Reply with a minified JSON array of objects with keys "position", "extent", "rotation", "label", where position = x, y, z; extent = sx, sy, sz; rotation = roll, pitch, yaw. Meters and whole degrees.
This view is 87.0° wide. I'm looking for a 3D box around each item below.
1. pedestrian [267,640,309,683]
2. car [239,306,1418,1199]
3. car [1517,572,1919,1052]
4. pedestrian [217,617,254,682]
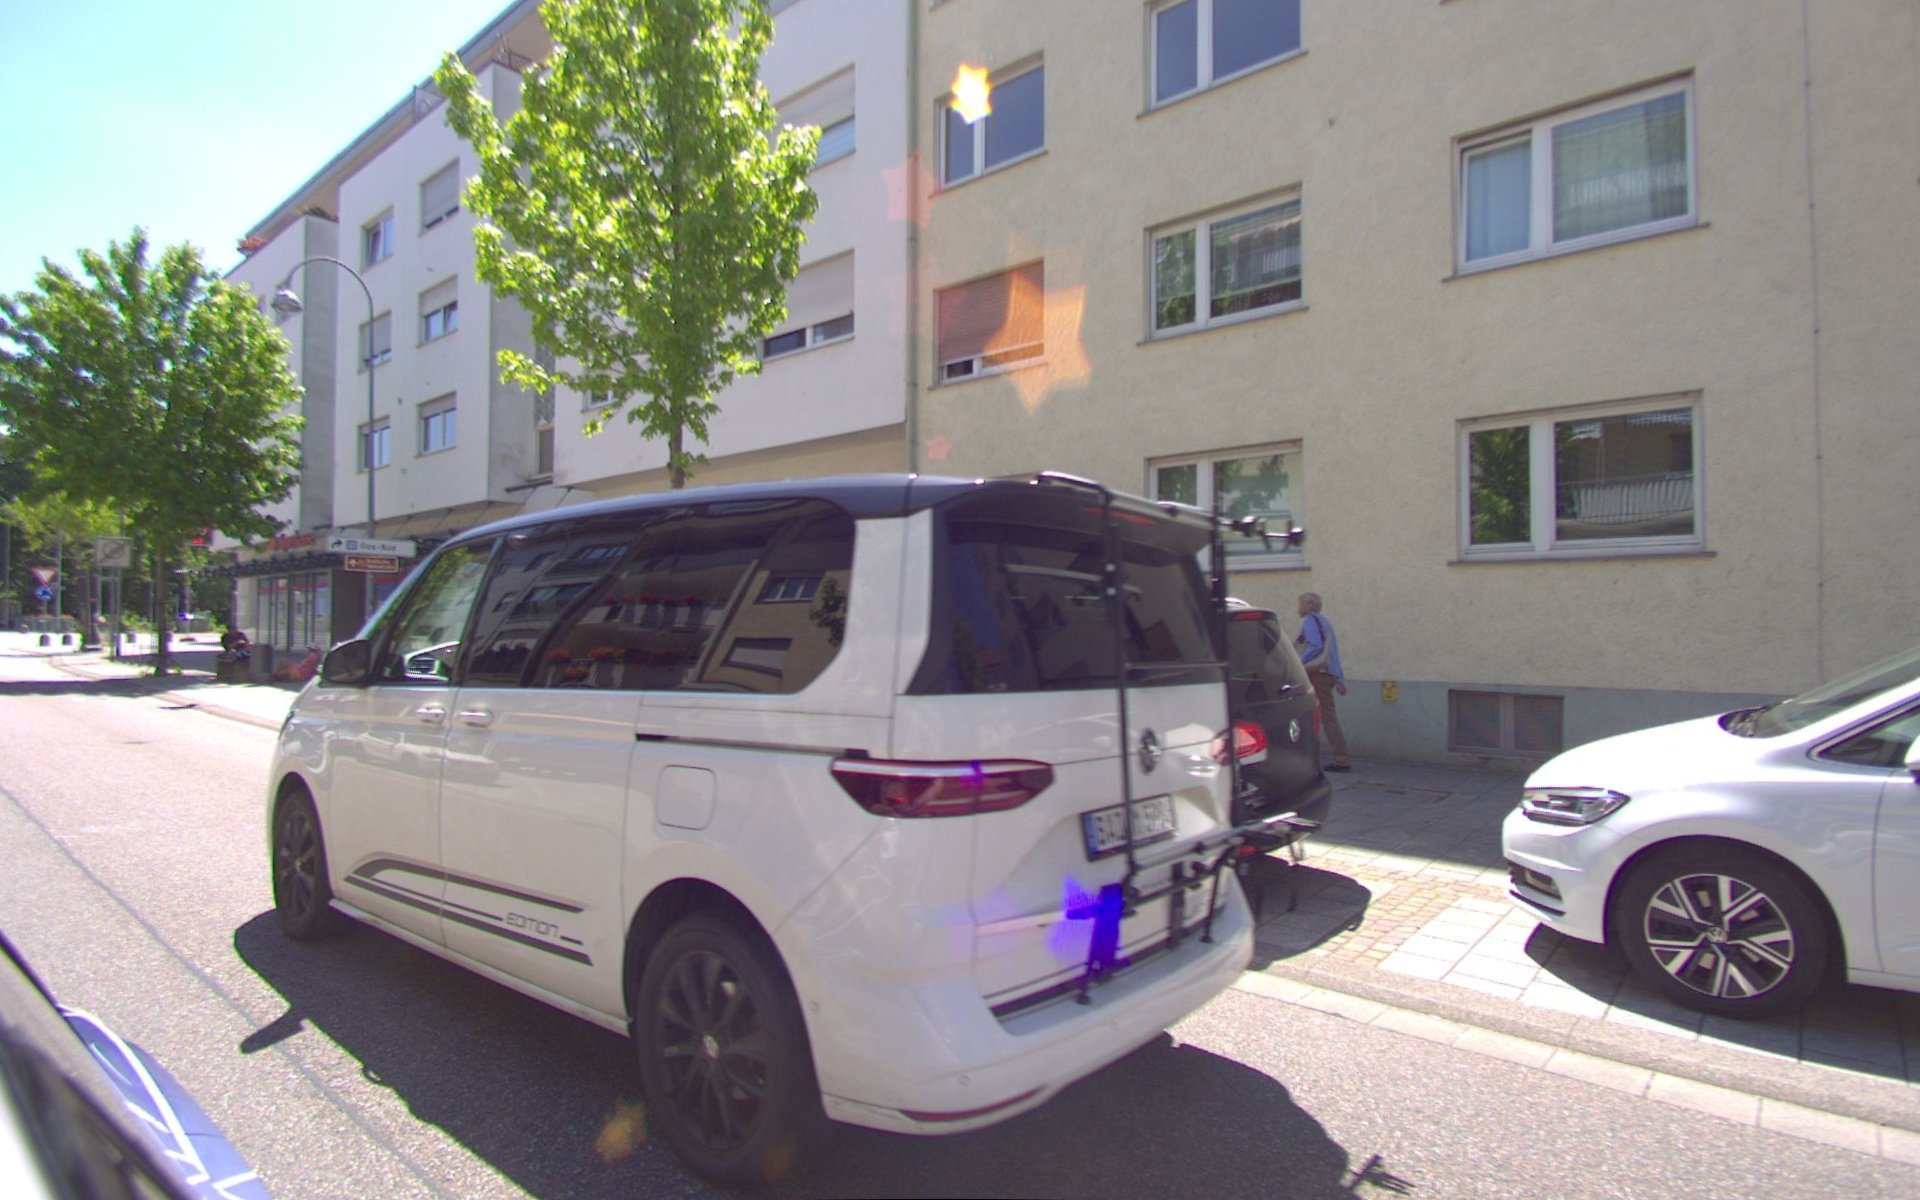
[{"position":[-14.565,1.323,21.940],"extent":[0.656,0.864,0.734],"rotation":[3,1,-40],"label":"pedestrian"},{"position":[-1.002,0.514,4.094],"extent":[4.902,1.937,1.887],"rotation":[-1,-4,40],"label":"car"},{"position":[4.589,0.698,3.507],"extent":[4.388,1.632,1.806],"rotation":[-2,-1,40],"label":"car"},{"position":[-15.629,1.064,21.832],"extent":[0.560,1.382,0.668],"rotation":[3,-3,-40],"label":"pedestrian"}]
